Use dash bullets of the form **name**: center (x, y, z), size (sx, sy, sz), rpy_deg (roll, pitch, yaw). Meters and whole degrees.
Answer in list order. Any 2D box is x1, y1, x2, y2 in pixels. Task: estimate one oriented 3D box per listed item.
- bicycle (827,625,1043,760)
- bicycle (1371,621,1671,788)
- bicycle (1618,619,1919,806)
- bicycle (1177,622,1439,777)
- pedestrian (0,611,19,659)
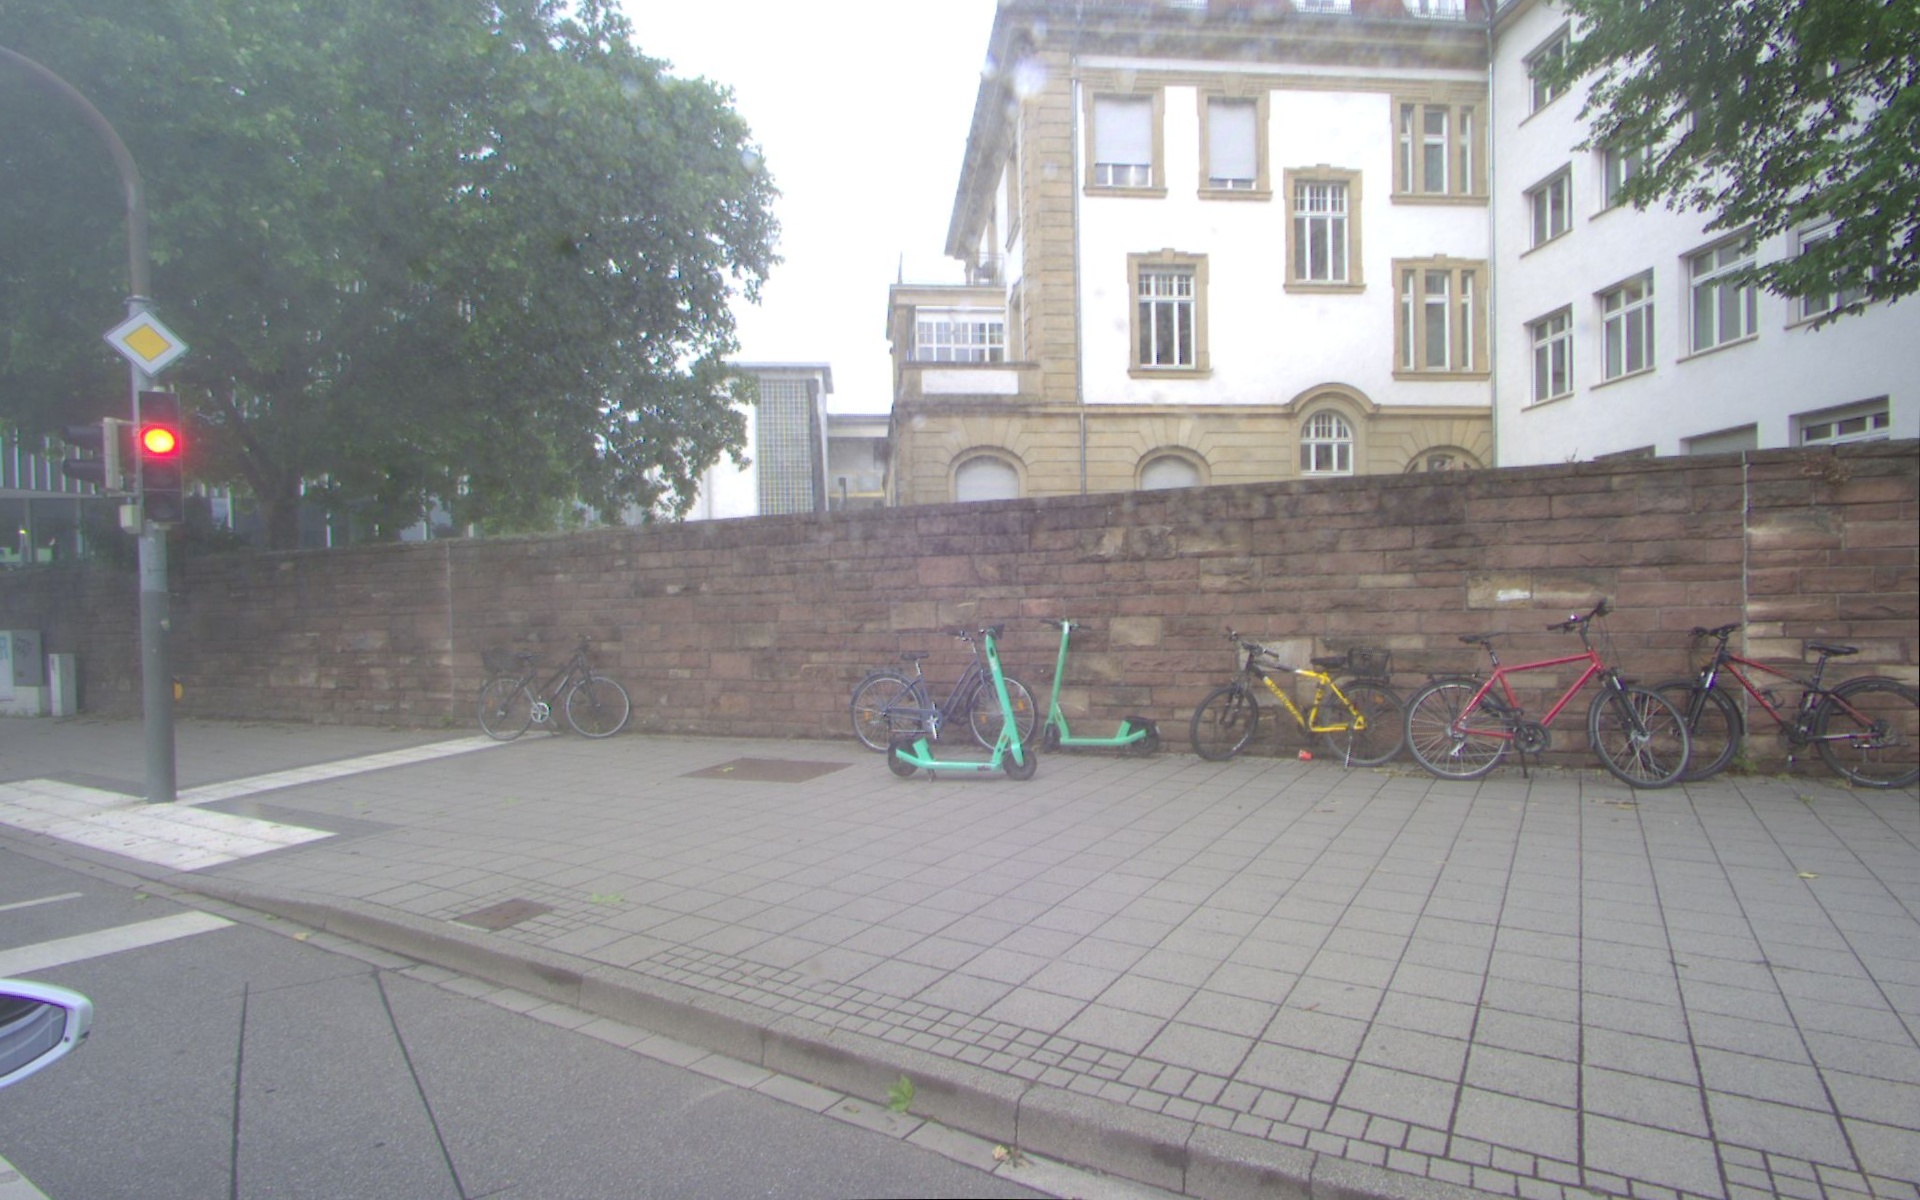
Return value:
- **bicycle**: center (-0.226, 0.811, 9.001), size (1.905, 1.158, 0.386), rpy_deg (-1, -1, 12)
- **bicycle**: center (3.992, 0.735, 7.184), size (1.904, 1.158, 0.386), rpy_deg (0, -1, 1)
- **bicycle**: center (5.461, 0.708, 6.539), size (1.907, 1.158, 0.339), rpy_deg (-1, -1, 17)
- **bicycle**: center (2.690, 0.763, 7.884), size (1.905, 1.158, 0.386), rpy_deg (-1, -1, 12)
- **pedestrian**: center (-38.259, 1.389, 39.787), size (0.877, 1.860, 0.845), rpy_deg (-1, 0, -3)
